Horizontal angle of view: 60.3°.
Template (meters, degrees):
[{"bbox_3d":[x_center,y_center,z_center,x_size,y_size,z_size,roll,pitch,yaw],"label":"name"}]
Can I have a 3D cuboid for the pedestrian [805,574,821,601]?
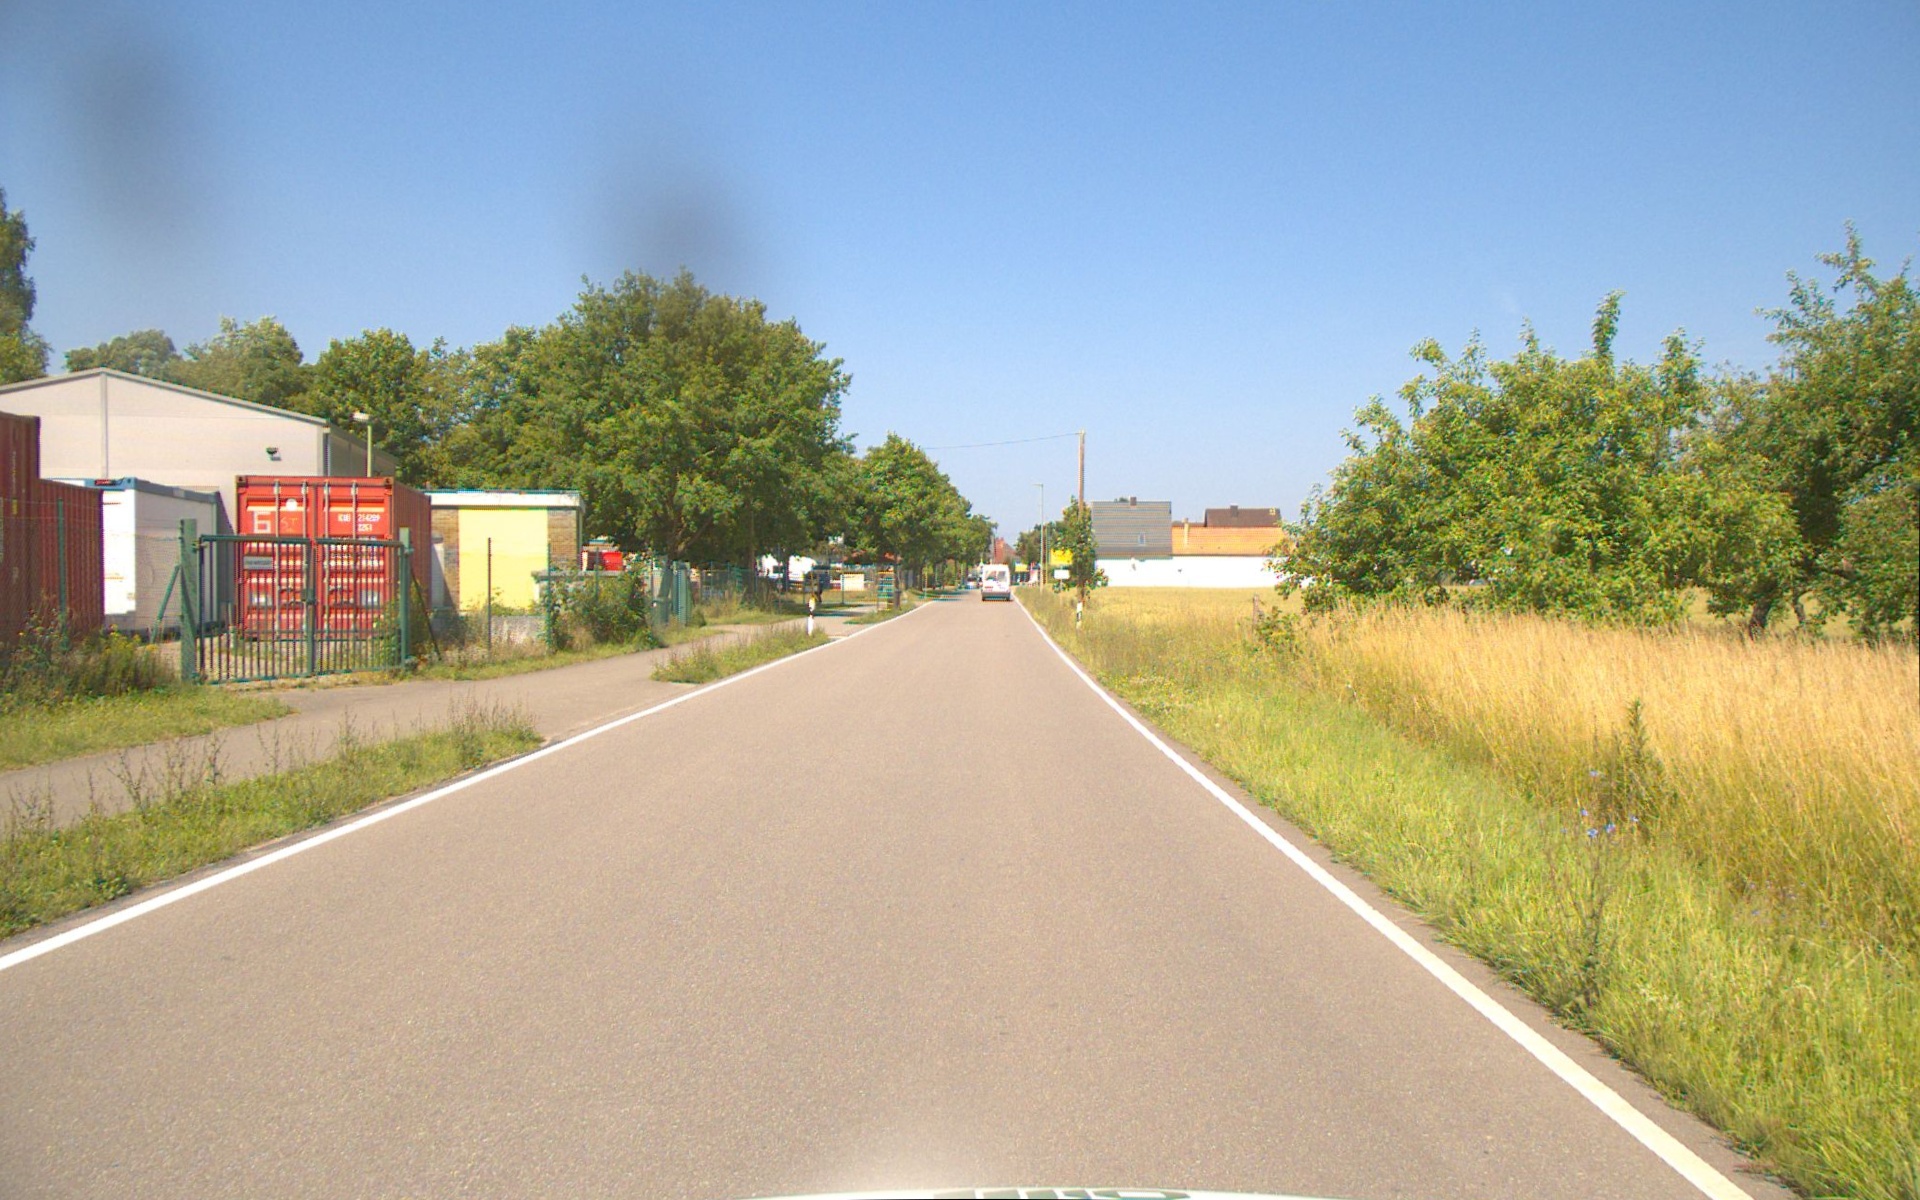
[{"bbox_3d":[-8.733,-0.772,98.237,0.663,1.593,0.718,0,1,24],"label":"pedestrian"}]

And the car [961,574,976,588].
[{"bbox_3d":[1.037,-2.328,203.624,1.734,1.618,4.001,0,1,1],"label":"car"}]

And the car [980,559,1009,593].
[{"bbox_3d":[2.398,-1.691,115.212,1.952,2.305,4.727,0,1,1],"label":"car"}]

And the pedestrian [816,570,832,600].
[{"bbox_3d":[-8.110,-0.902,98.794,0.705,1.834,0.710,0,1,24],"label":"pedestrian"}]

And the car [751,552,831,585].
[{"bbox_3d":[-12.065,-2.228,118.608,5.555,2.305,1.973,-1,1,-38],"label":"car"}]
